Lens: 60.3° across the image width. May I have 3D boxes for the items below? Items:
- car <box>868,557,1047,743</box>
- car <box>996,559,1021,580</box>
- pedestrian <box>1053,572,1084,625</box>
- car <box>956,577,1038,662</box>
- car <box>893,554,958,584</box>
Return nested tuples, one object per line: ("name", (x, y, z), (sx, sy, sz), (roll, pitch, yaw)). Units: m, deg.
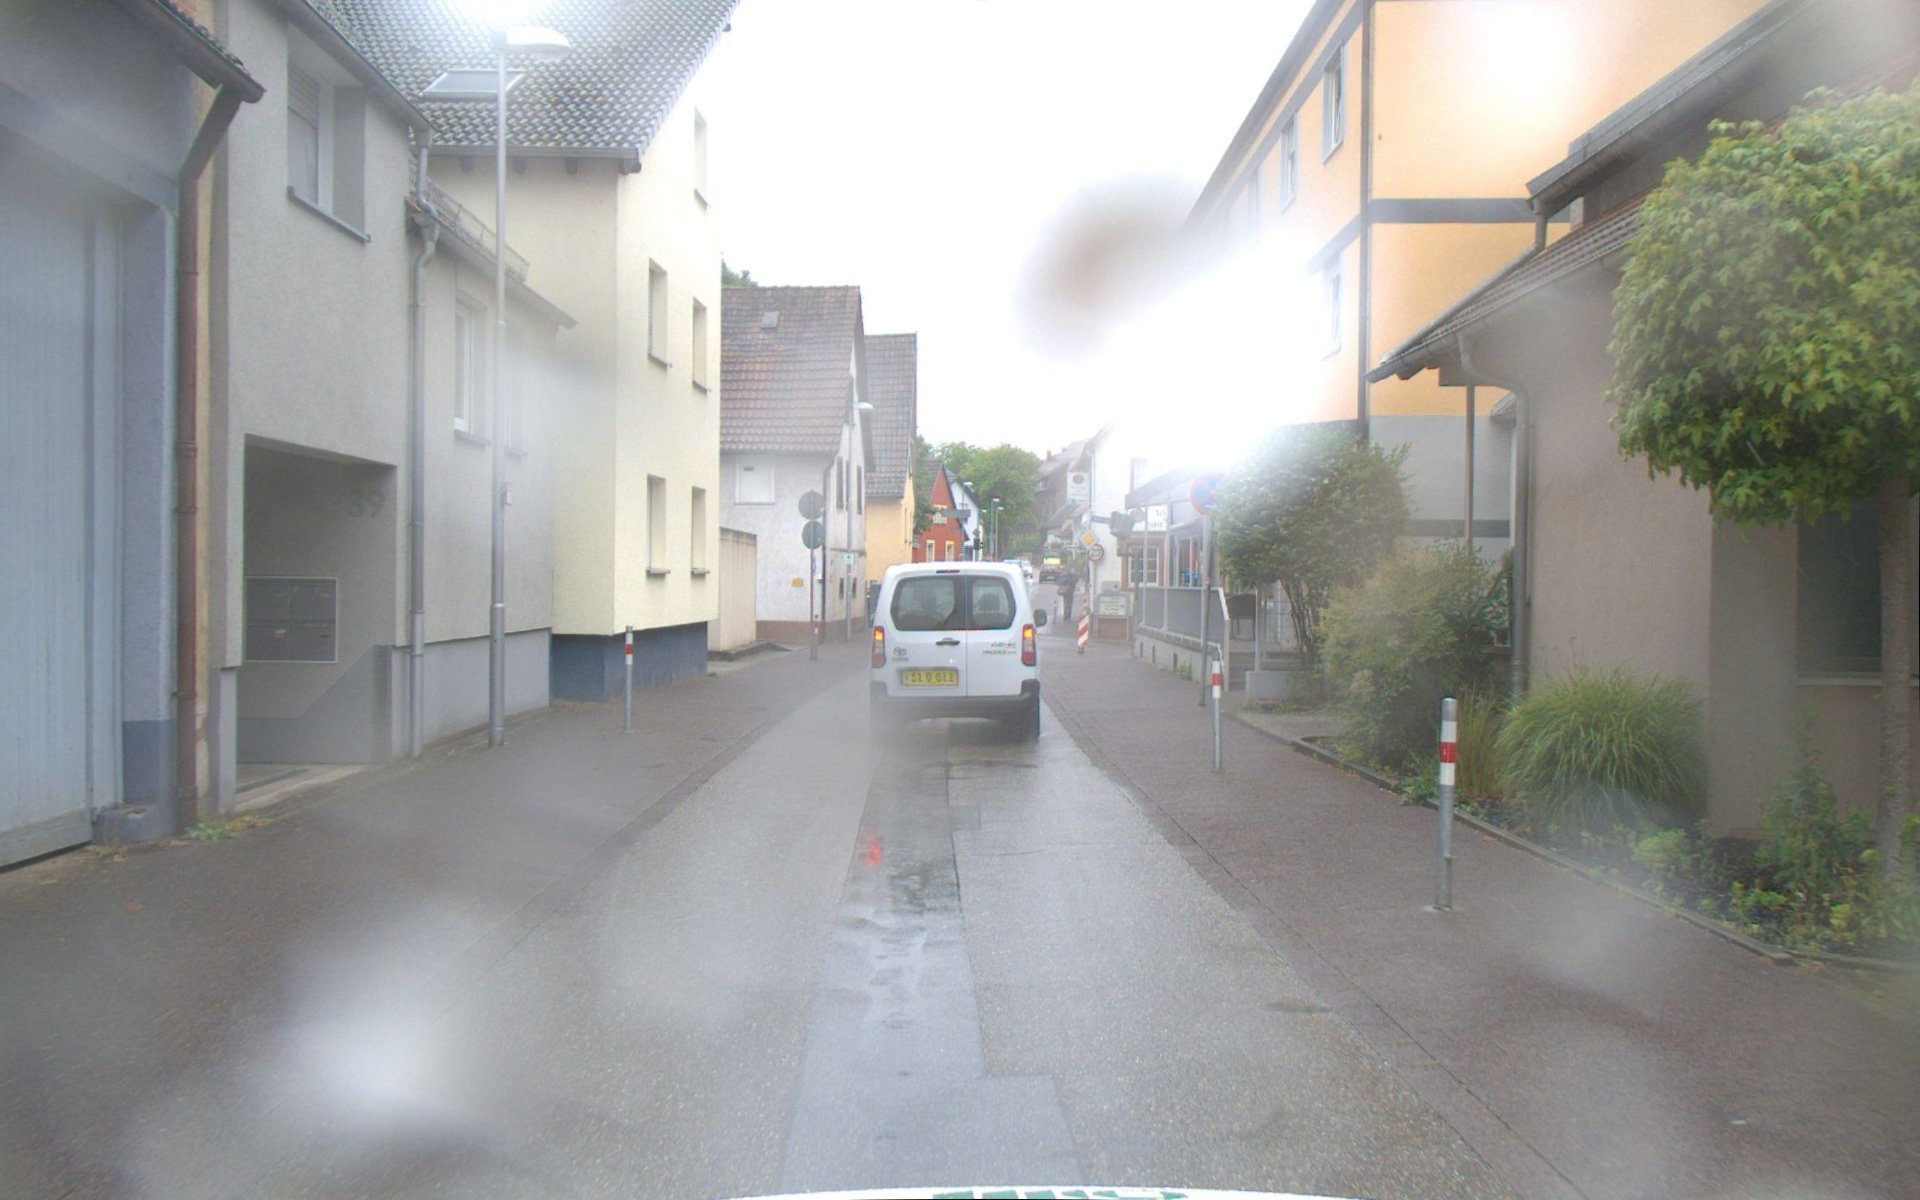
("car", (0.028, 0.491, 18.285), (1.738, 1.811, 4.001), (-1, 0, 1))
("car", (3.657, -2.266, 123.434), (1.555, 1.466, 3.768), (1, 0, 6))
("pedestrian", (3.935, -0.053, 60.082), (1.029, 1.926, 0.877), (-1, 0, -1))
("car", (0.976, 0.469, 42.261), (1.952, 2.049, 4.001), (-1, 0, 2))
("car", (-2.063, -1.859, 98.819), (3.376, 1.586, 1.985), (-4, 2, -24))
